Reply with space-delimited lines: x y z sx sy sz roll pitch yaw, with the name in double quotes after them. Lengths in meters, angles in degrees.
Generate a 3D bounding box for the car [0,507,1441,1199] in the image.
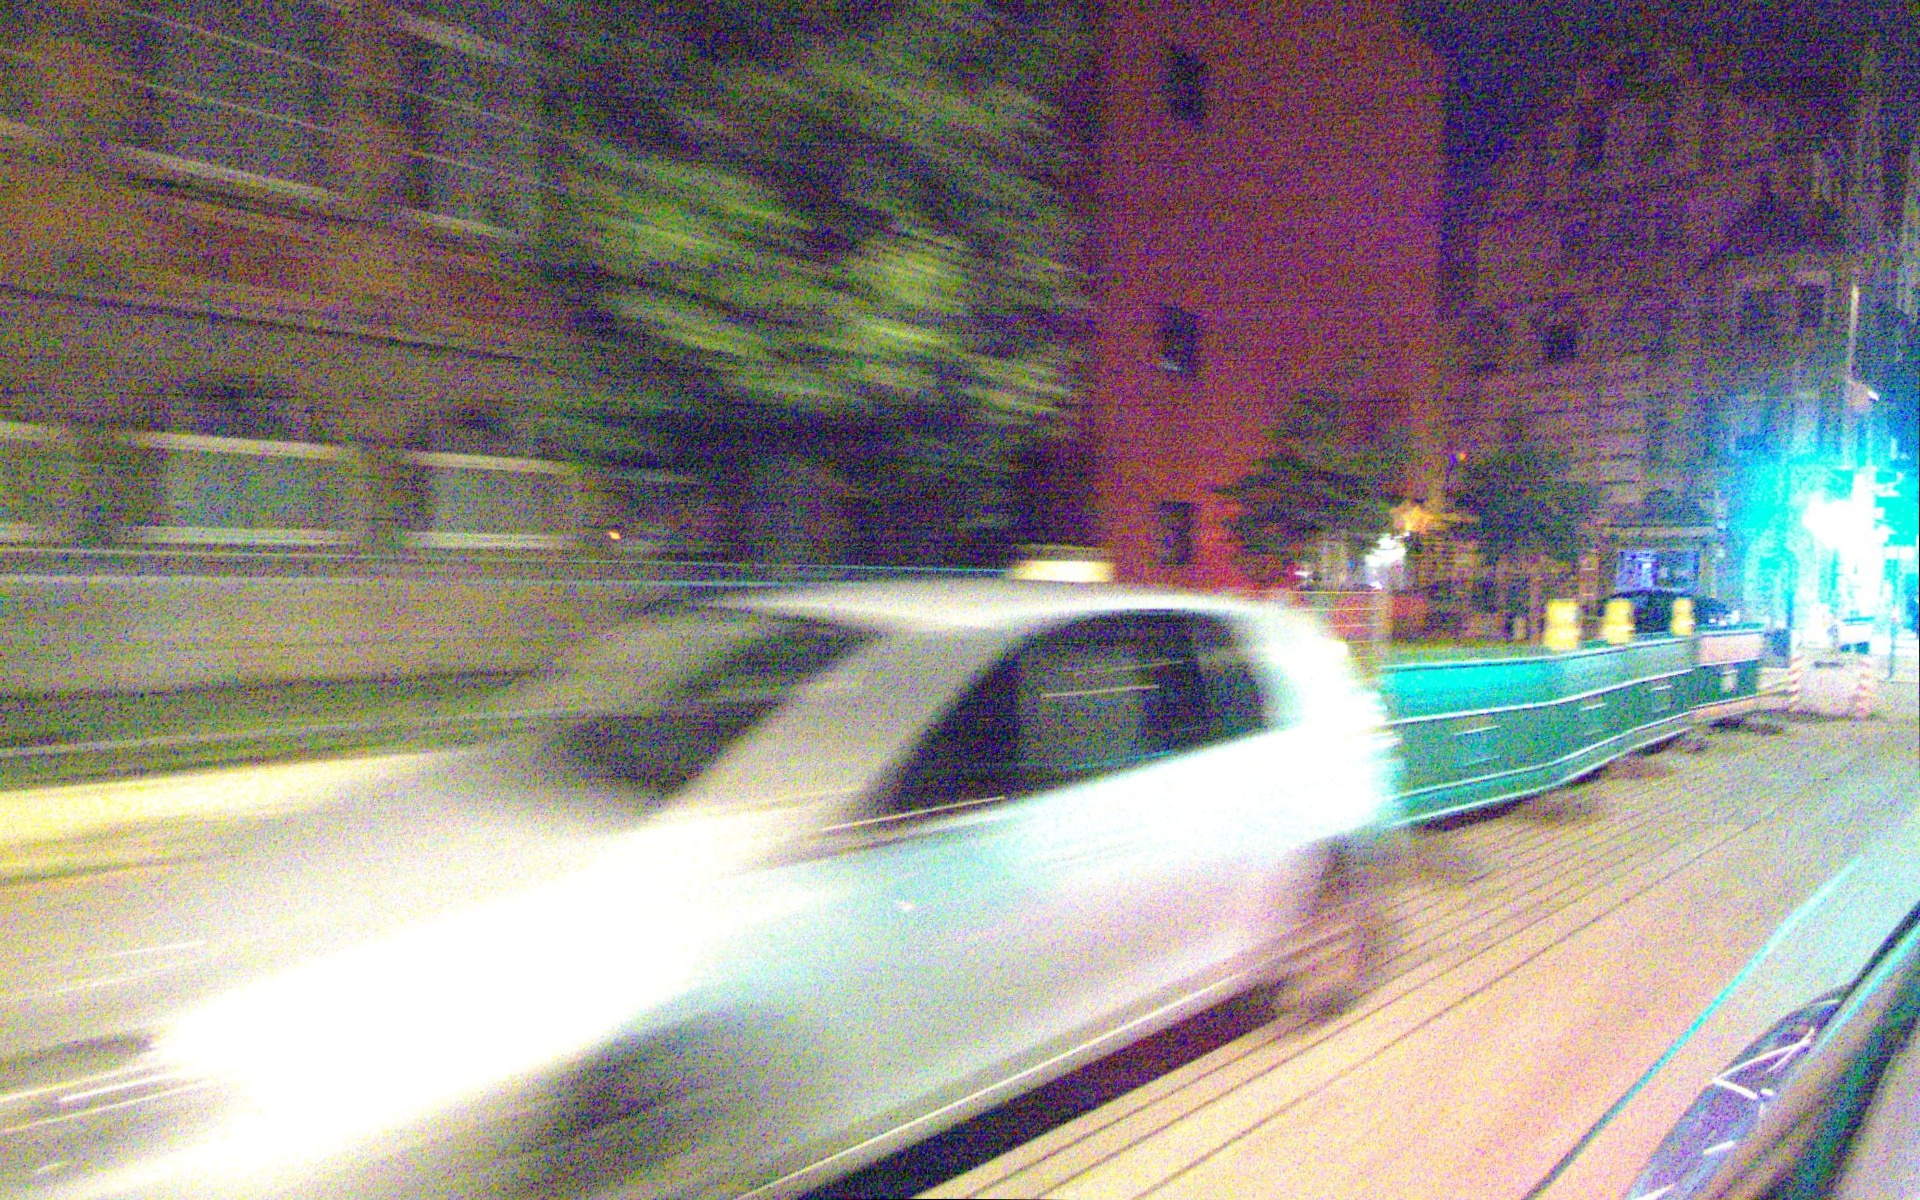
-0.316 0.588 3.163 3.929 1.495 1.744 0 4 -40 "car"

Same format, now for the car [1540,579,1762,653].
16.342 0.297 24.086 1.821 1.439 4.022 -2 4 -41 "car"

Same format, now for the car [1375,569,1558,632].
14.122 -0.052 28.398 1.821 1.485 4.197 0 3 -43 "car"
